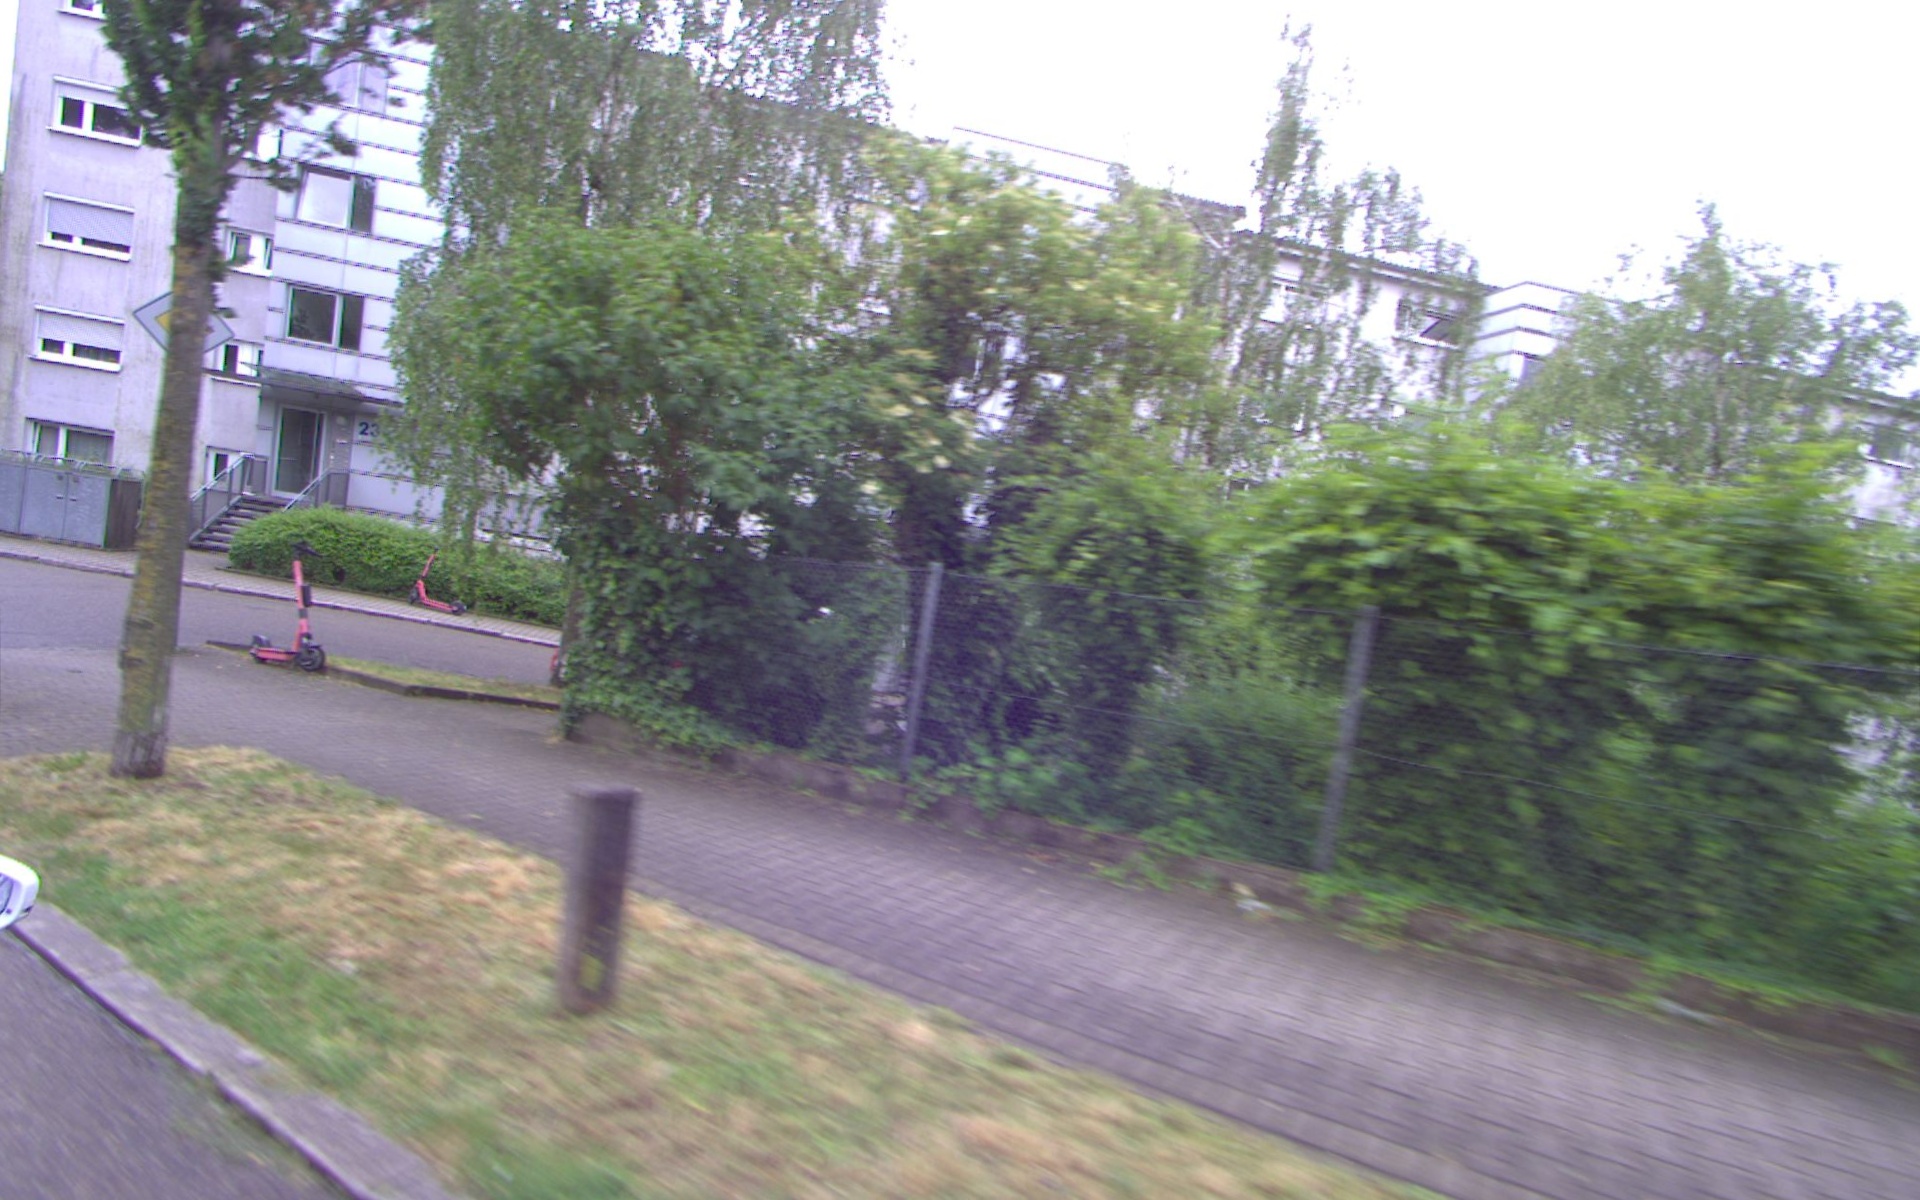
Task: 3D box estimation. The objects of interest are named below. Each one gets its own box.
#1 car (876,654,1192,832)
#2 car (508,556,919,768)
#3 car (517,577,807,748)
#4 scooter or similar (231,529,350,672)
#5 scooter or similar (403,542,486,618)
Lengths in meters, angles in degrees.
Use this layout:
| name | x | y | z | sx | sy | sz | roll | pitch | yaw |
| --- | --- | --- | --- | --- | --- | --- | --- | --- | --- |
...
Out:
| name | x | y | z | sx | sy | sz | roll | pitch | yaw |
| --- | --- | --- | --- | --- | --- | --- | --- | --- | --- |
| car | 1.063 | 2.143 | 15.357 | 4.311 | 1.557 | 1.723 | 14 | -2 | -11 |
| car | -2.552 | 0.560 | 10.122 | 3.932 | 1.451 | 1.507 | 8 | -2 | 30 |
| car | -4.083 | 0.852 | 14.261 | 3.517 | 1.540 | 1.640 | 13 | 1 | -11 |
| scooter or similar | -6.531 | -0.007 | 9.796 | 1.246 | 1.269 | 0.343 | 6 | -1 | 31 |
| scooter or similar | -9.898 | -0.391 | 19.329 | 1.184 | 1.200 | 0.496 | 11 | 5 | -4 |
